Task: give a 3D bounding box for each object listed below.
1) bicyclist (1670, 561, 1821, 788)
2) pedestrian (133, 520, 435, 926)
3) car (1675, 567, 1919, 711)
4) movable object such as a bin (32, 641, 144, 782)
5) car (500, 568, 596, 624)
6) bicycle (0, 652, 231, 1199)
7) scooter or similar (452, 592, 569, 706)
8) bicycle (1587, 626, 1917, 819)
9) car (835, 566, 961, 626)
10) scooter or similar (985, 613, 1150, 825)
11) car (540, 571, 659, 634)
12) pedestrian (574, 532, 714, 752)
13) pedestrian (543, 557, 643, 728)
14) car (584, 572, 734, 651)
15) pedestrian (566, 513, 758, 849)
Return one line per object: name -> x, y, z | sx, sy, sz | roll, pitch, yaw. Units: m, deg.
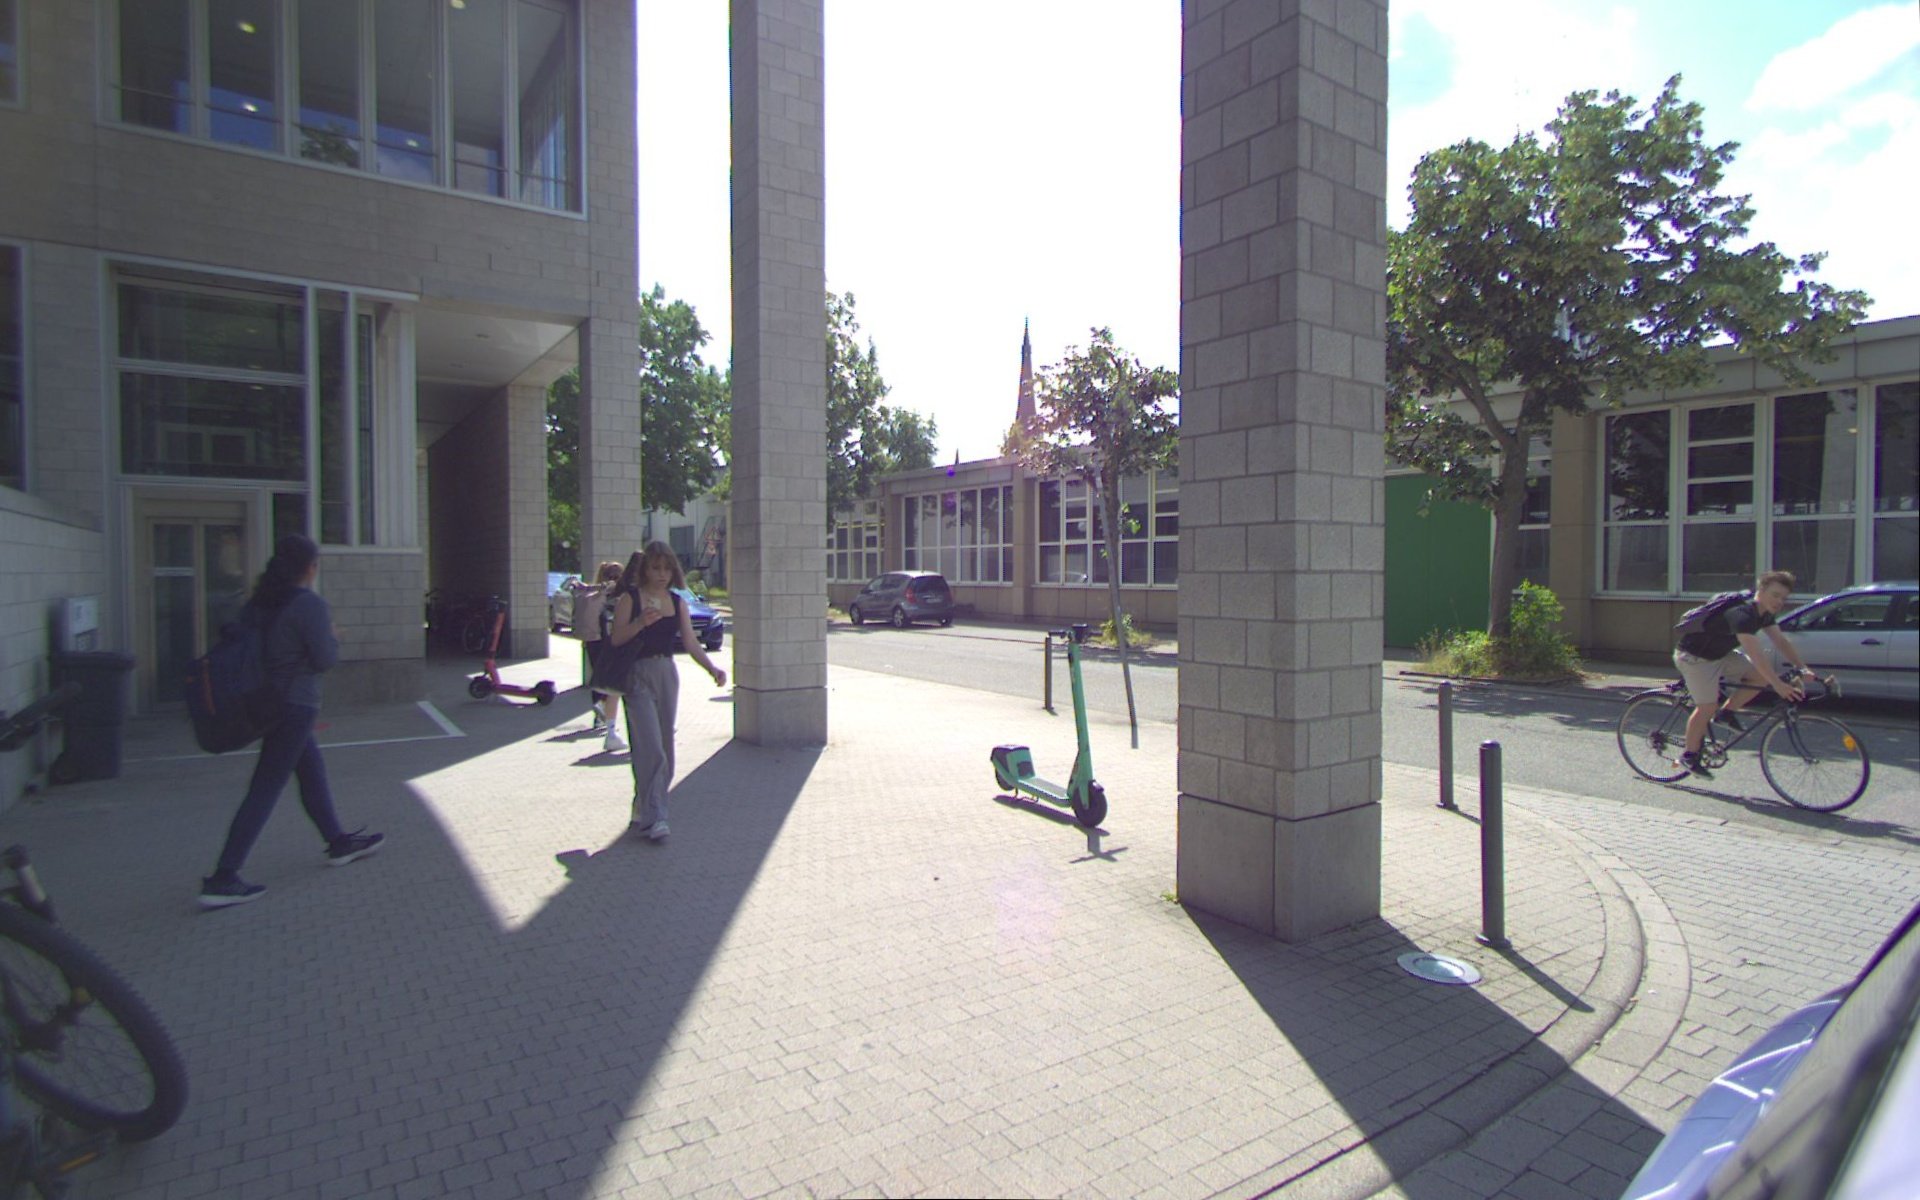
bicyclist -> 5.780, 0.502, 7.466 | 0.593, 1.553, 0.728 | -3, 3, -33
pedestrian -> -3.024, 0.462, 4.555 | 0.815, 1.593, 0.870 | 0, 2, 36
car -> 10.732, 0.396, 11.638 | 1.622, 1.494, 3.780 | -3, 3, -34
movable object such as a bin -> -6.432, 0.800, 7.475 | 0.371, 0.950, 0.545 | 0, 1, 36
car -> -12.579, -0.171, 30.795 | 1.817, 1.601, 4.134 | -1, 2, -35
bicycle -> -1.853, 0.782, 1.978 | 0.594, 1.178, 1.885 | 0, 3, -39
scooter or similar -> -5.189, 0.541, 11.668 | 1.412, 1.239, 0.356 | 1, 1, 23
bicycle -> 5.767, 0.820, 7.496 | 0.593, 1.121, 1.832 | -3, 3, -32
car -> -1.921, -0.175, 30.131 | 1.817, 1.597, 4.134 | -2, 3, -35
scooter or similar -> 0.645, 0.690, 6.390 | 0.435, 1.165, 1.160 | 0, 1, -30
car -> -9.316, 0.000, 25.963 | 1.817, 1.494, 4.134 | -1, 2, -35
pedestrian -> -2.654, 0.318, 8.553 | 0.770, 1.745, 0.854 | 1, 1, 22
pedestrian -> -3.634, 0.393, 10.073 | 0.581, 1.619, 0.823 | 0, 1, 14
car -> -6.433, 0.157, 21.364 | 1.817, 1.494, 4.134 | -1, 2, -35
pedestrian -> -1.662, 0.397, 5.613 | 0.691, 1.676, 0.881 | 1, 0, -42
